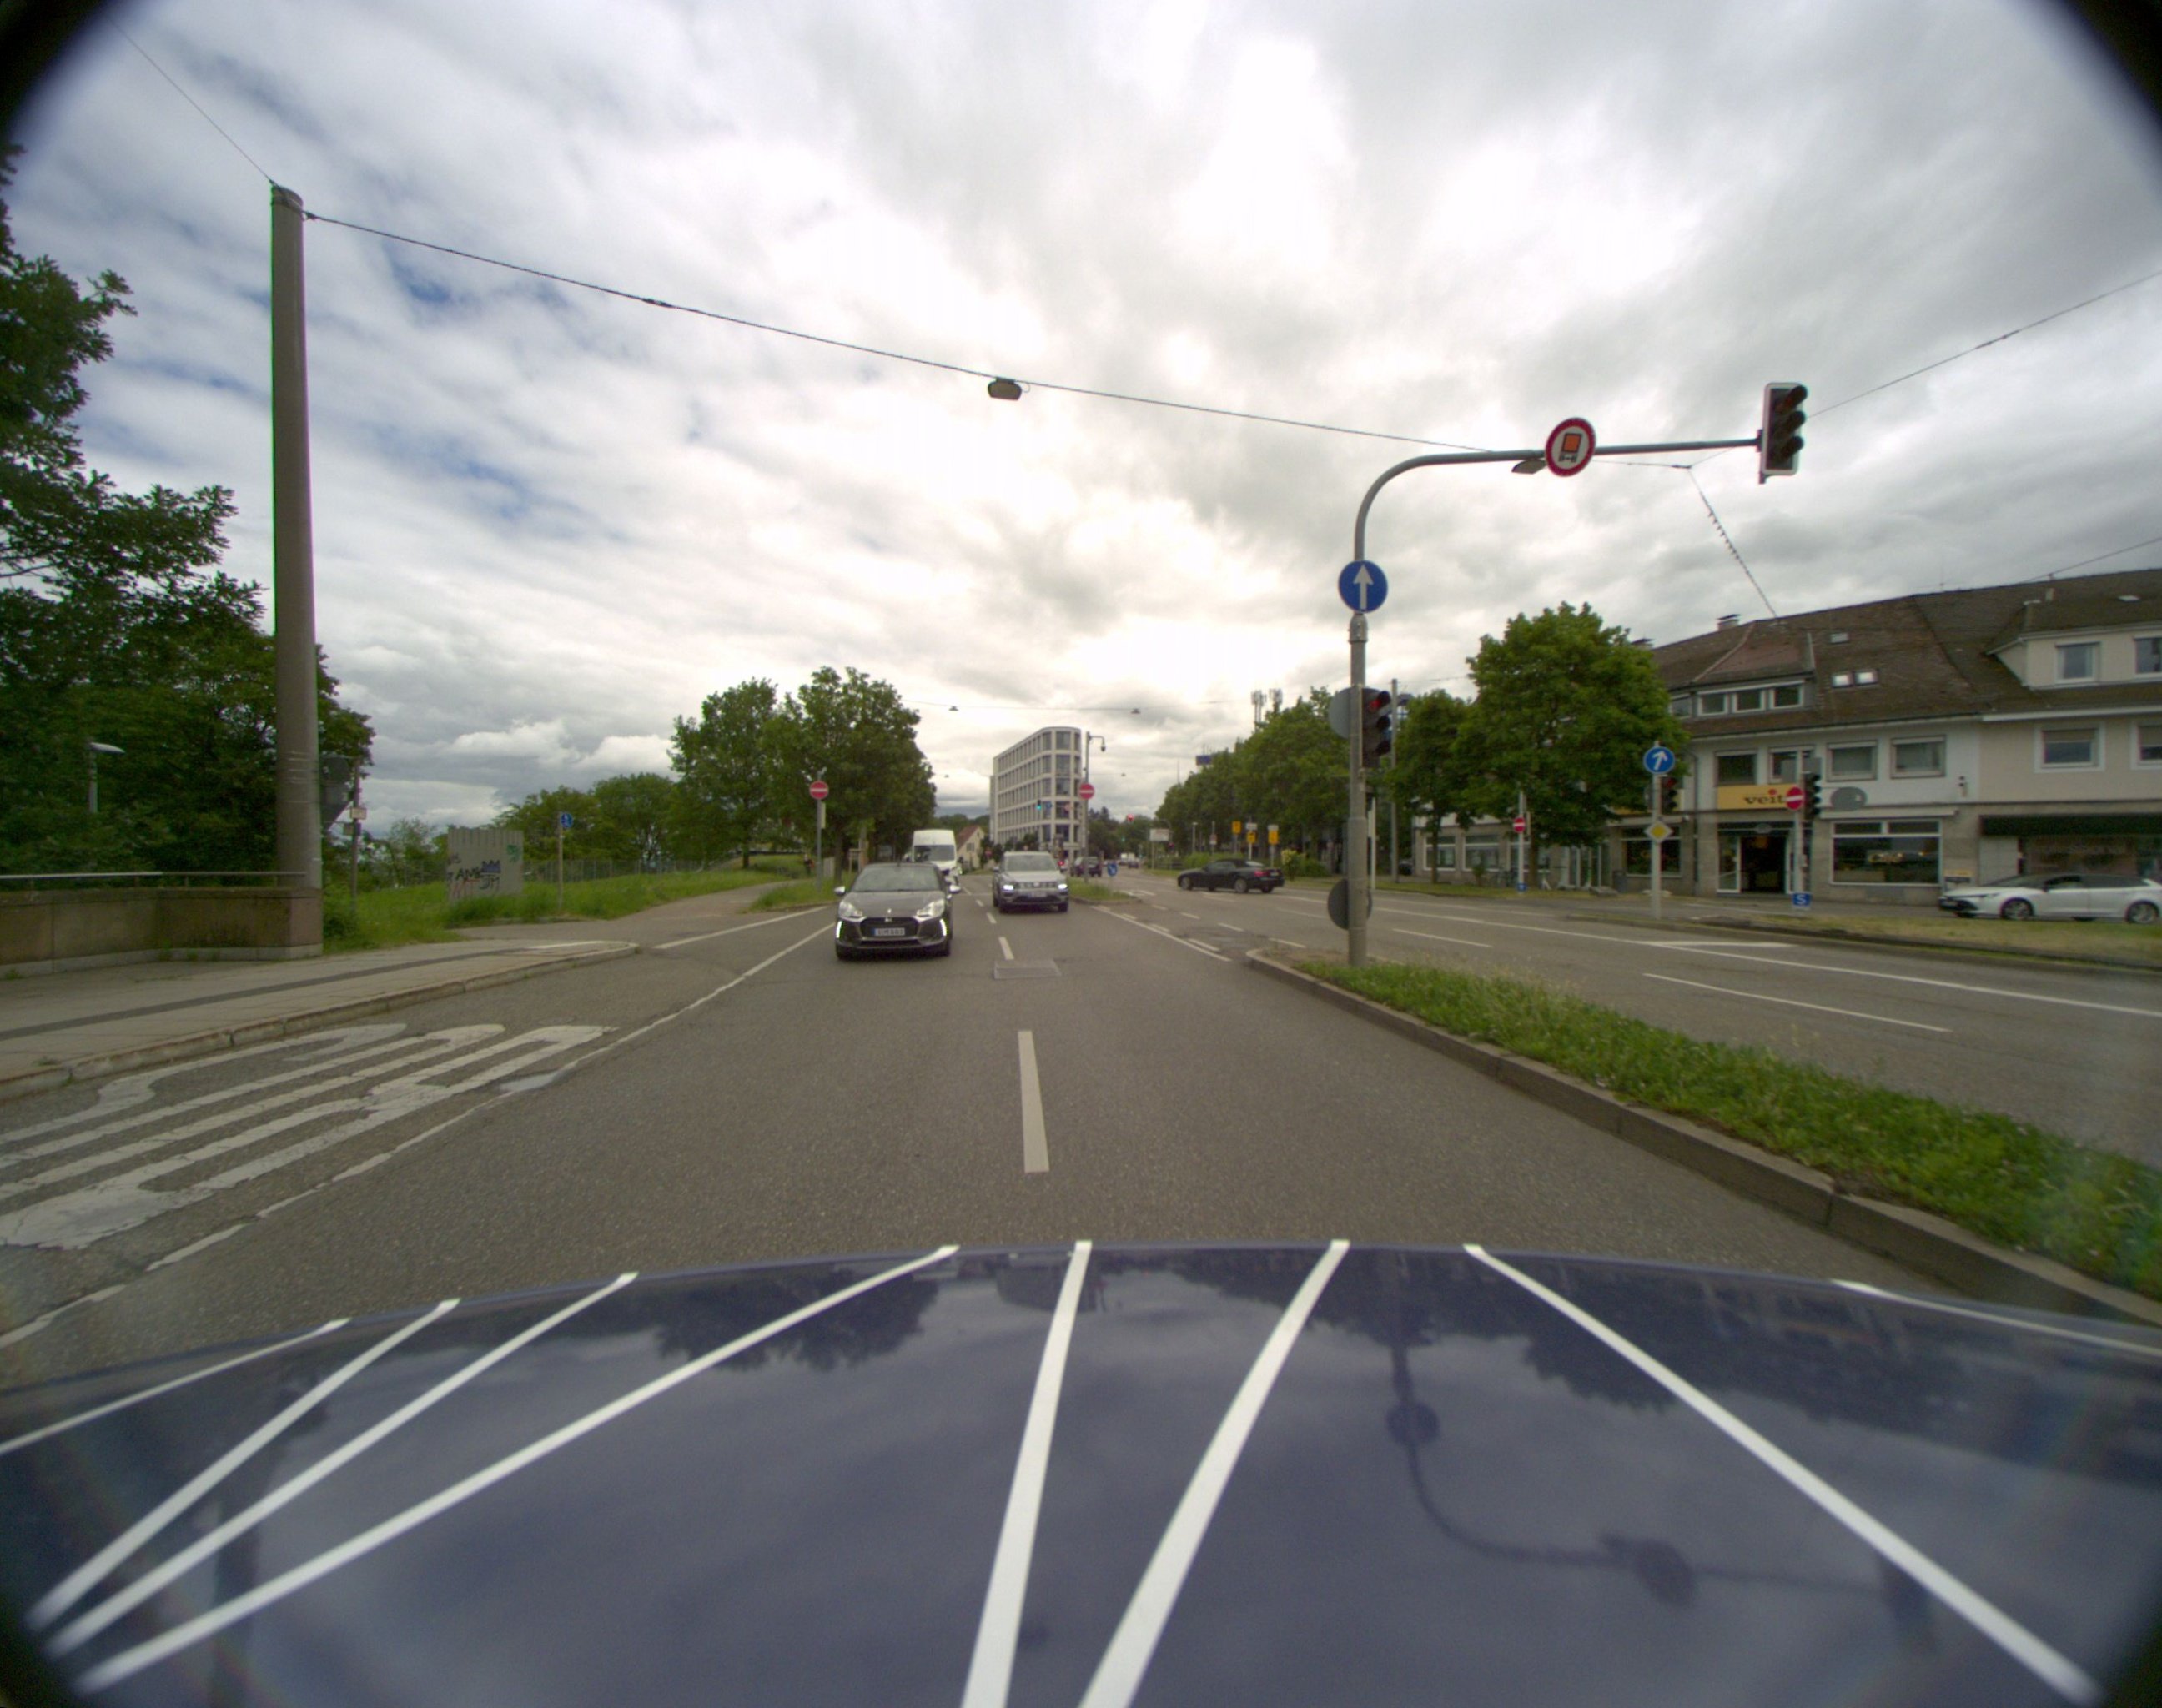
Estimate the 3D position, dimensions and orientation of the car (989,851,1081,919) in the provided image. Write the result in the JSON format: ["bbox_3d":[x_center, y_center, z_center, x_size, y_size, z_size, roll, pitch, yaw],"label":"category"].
[{"bbox_3d":[-1.424,0.767,21.590,2.000,1.640,4.388,-2,1,-11],"label":"car"}]

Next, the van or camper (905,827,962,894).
[{"bbox_3d":[-6.588,0.233,34.337,2.282,2.690,6.988,1,1,-10],"label":"van or camper"}]

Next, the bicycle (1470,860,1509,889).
[{"bbox_3d":[18.069,0.889,33.580,1.686,1.246,0.625,-1,2,-26],"label":"bicycle"}]

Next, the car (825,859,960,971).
[{"bbox_3d":[-3.059,0.876,12.801,1.865,1.516,3.995,1,1,-11],"label":"car"}]

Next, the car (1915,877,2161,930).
[{"bbox_3d":[28.302,1.412,22.307,4.801,1.348,2.002,0,1,14],"label":"car"}]

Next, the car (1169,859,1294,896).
[{"bbox_3d":[6.144,0.909,31.464,2.004,1.348,4.796,0,1,-43],"label":"car"}]
